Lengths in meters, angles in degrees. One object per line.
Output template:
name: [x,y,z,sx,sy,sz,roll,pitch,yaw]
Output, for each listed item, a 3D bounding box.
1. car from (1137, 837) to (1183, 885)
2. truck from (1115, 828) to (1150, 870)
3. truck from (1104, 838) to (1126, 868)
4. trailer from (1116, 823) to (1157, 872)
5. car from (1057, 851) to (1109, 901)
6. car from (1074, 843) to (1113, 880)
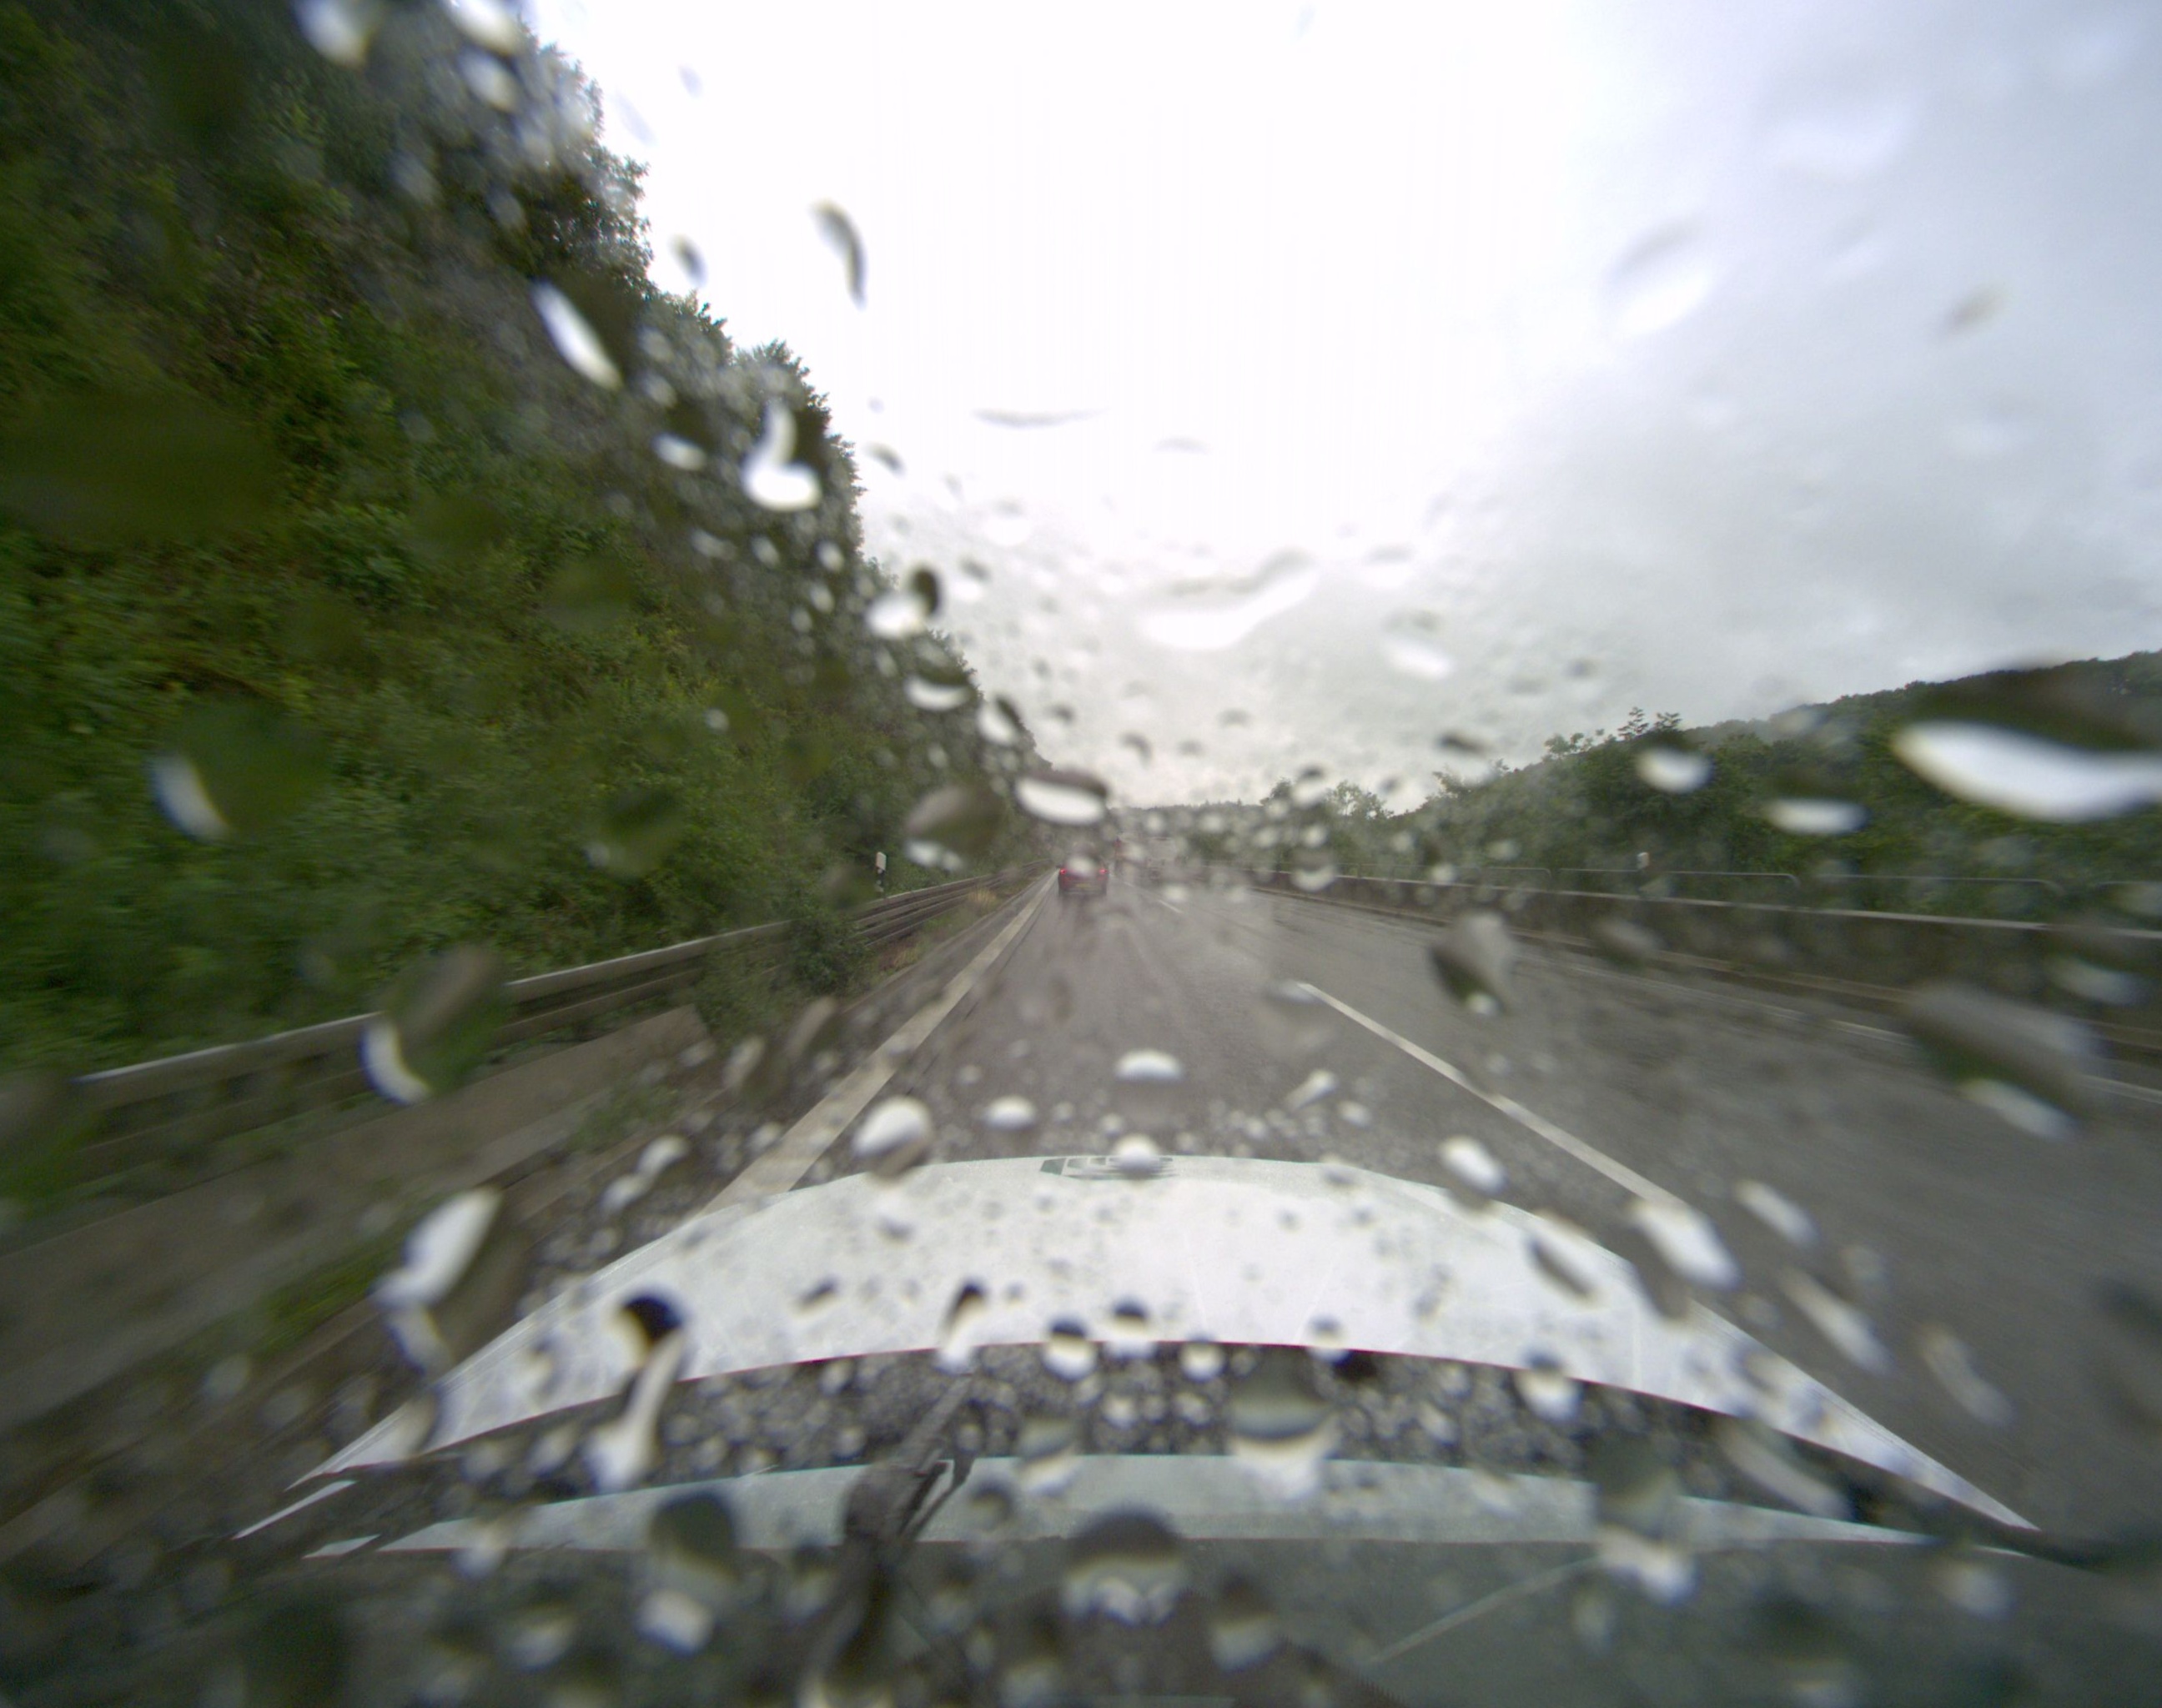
car: [4.907,0.429,51.869,2.198,2.794,7.383,2,0,1]
truck: [5.034,-0.459,79.875,3.207,3.978,5.441,1,0,2]
truck: [5.446,-0.080,132.956,3.212,4.682,8.299,-1,-1,1]
trailer: [4.788,-0.490,72.897,3.206,3.999,13.529,1,0,2]
car: [0.066,0.775,29.997,1.752,1.684,3.999,-1,-1,0]
car: [0.589,0.394,40.639,1.827,1.715,3.644,-1,-1,-1]
